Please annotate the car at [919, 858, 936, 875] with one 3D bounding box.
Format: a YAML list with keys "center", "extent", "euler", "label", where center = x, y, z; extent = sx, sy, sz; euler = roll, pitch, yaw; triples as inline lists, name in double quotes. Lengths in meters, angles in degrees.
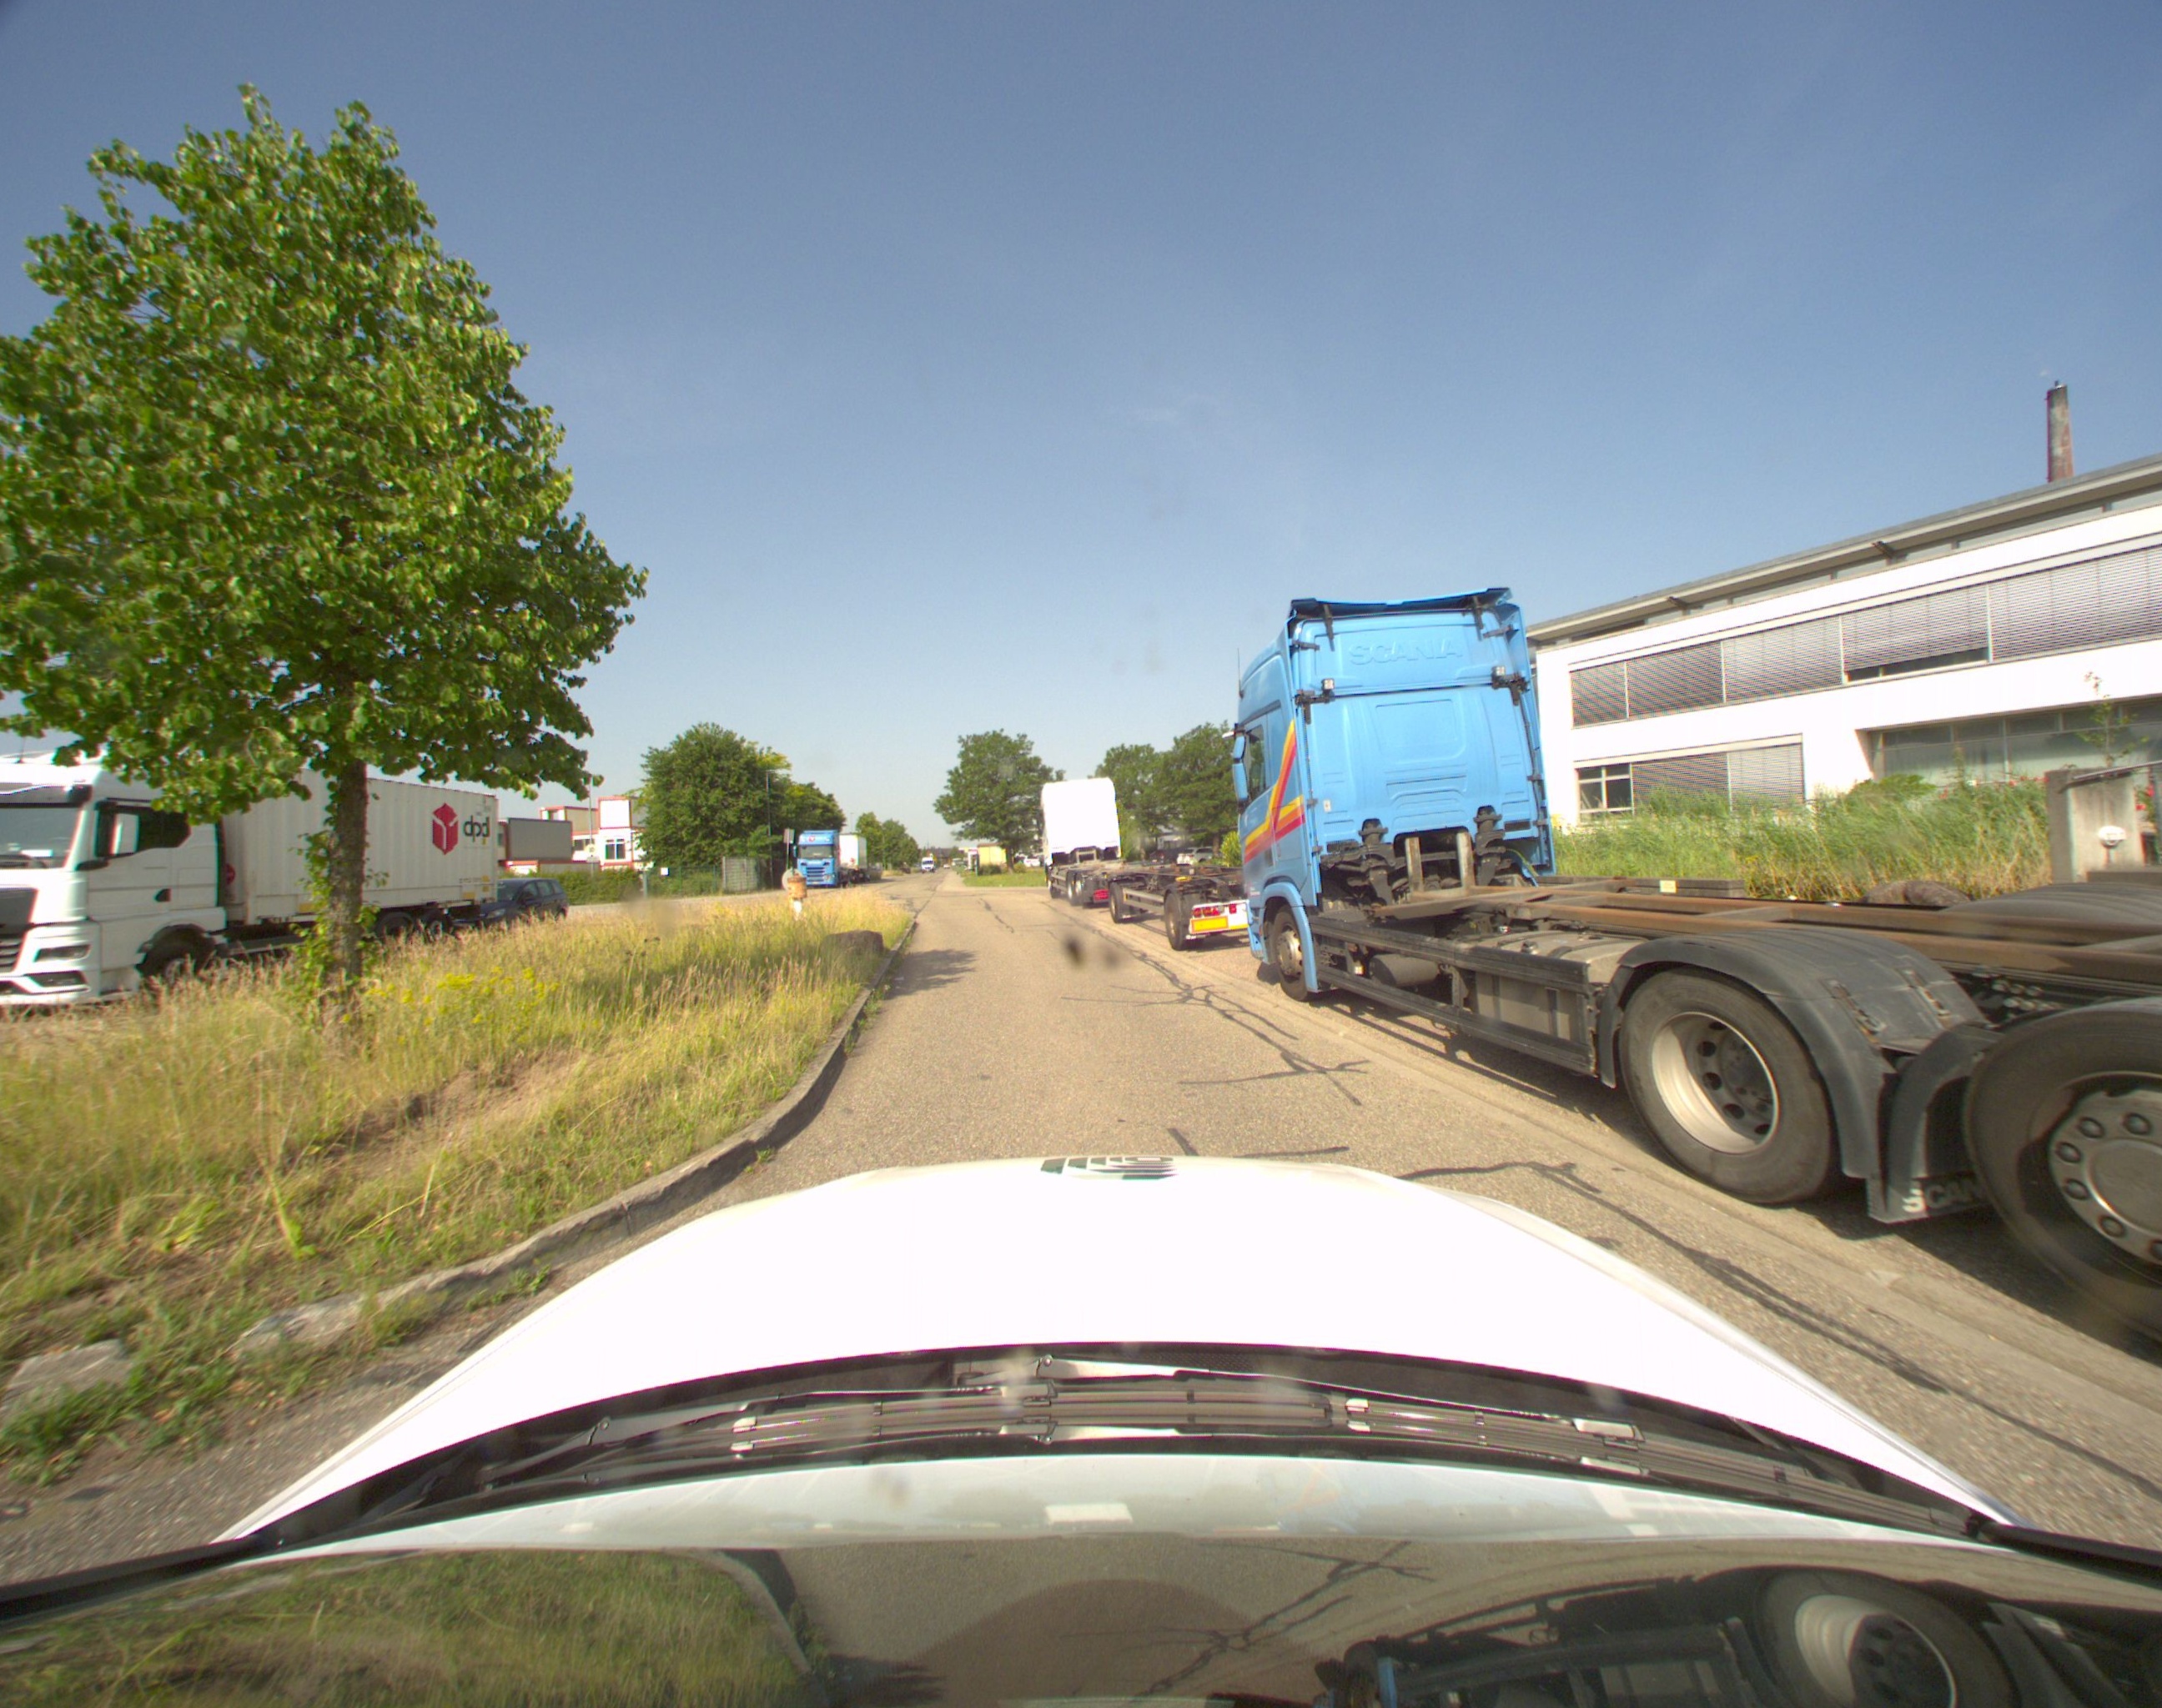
- center: [-25.387, 2.070, 134.359]
  extent: [2.218, 2.686, 6.816]
  euler: [-1, -2, -15]
  label: "car"

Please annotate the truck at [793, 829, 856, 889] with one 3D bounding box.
- center: [-17.798, 0.467, 57.077]
  extent: [2.825, 3.826, 9.640]
  euler: [-1, -2, -9]
  label: "truck"

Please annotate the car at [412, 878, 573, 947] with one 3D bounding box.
- center: [-16.799, 1.596, 23.568]
  extent: [1.994, 1.641, 4.570]
  euler: [-1, 0, -11]
  label: "car"

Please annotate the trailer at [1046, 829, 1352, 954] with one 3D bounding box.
- center: [1.414, 0.628, 19.830]
  extent: [2.745, 1.574, 16.121]
  euler: [-5, 0, -9]
  label: "trailer"

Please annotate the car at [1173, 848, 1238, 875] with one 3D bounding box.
- center: [8.365, 0.503, 54.641]
  extent: [4.100, 1.701, 1.748]
  euler: [0, -2, -30]
  label: "car"

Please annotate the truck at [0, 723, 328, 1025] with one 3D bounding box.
- center: [-14.842, 0.323, 12.607]
  extent: [2.709, 3.922, 4.282]
  euler: [-1, -2, -10]
  label: "truck"

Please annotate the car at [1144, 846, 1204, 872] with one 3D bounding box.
- center: [6.583, 0.368, 57.384]
  extent: [4.020, 1.767, 1.976]
  euler: [0, -2, -40]
  label: "car"

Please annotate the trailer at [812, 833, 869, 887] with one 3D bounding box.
- center: [-19.103, 0.609, 65.284]
  extent: [2.831, 3.843, 11.996]
  euler: [-1, -2, -9]
  label: "trailer"

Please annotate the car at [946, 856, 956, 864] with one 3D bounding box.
- center: [-31.566, 1.499, 197.396]
  extent: [1.776, 1.815, 3.974]
  euler: [0, -2, -19]
  label: "car"

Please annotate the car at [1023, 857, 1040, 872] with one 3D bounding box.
- center: [-5.562, 1.170, 91.479]
  extent: [1.715, 1.618, 3.991]
  euler: [-1, -2, -6]
  label: "car"

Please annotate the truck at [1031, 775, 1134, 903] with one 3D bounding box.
- center: [-0.062, -0.489, 28.761]
  extent: [2.745, 3.981, 3.988]
  euler: [-5, 0, -9]
  label: "truck"

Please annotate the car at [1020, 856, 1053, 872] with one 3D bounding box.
- center: [-4.054, 0.922, 73.549]
  extent: [1.676, 1.330, 3.632]
  euler: [0, -2, -25]
  label: "car"

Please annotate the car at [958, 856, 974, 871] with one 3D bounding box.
- center: [-13.916, 1.147, 98.762]
  extent: [1.792, 1.750, 3.986]
  euler: [-1, -2, -10]
  label: "car"

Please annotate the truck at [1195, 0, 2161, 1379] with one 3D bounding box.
- center: [3.650, -0.470, 5.174]
  extent: [2.887, 3.535, 9.726]
  euler: [-6, -1, -8]
  label: "truck"

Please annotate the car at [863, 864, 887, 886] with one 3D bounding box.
- center: [-20.981, 2.112, 82.751]
  extent: [2.000, 2.013, 3.974]
  euler: [-2, 0, -19]
  label: "car"

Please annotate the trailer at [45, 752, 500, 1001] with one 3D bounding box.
- center: [-15.529, 0.436, 16.778]
  extent: [2.699, 3.922, 7.549]
  euler: [-1, -2, -10]
  label: "trailer"

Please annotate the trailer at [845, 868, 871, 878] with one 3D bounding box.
- center: [-20.435, 1.751, 74.804]
  extent: [1.897, 0.760, 3.986]
  euler: [-2, 0, -10]
  label: "trailer"
